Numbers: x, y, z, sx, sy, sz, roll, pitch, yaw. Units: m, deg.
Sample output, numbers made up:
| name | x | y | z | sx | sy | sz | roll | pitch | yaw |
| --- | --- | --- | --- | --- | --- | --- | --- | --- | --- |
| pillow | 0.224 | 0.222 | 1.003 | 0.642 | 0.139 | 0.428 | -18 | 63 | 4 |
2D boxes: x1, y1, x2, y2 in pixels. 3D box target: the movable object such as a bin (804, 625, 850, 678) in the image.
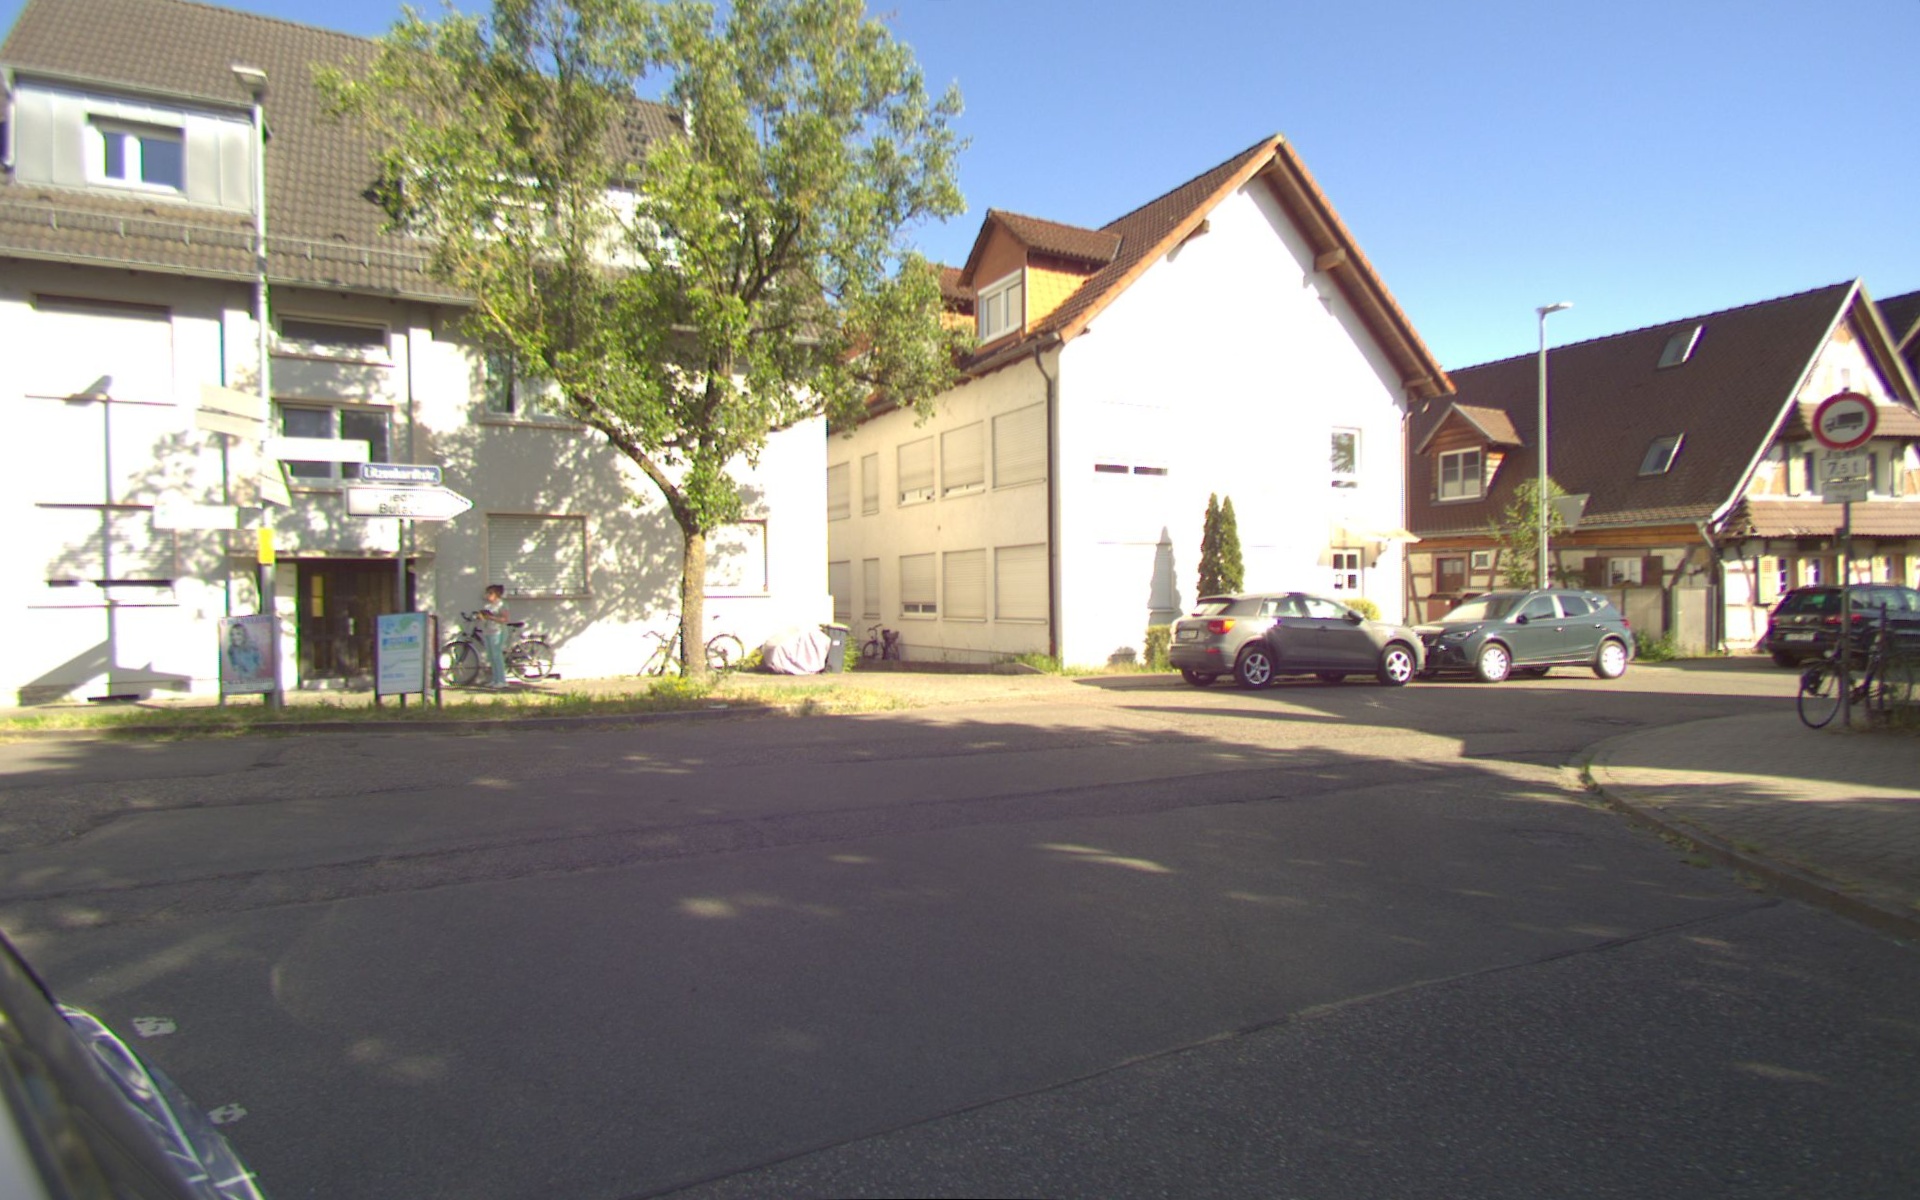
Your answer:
| name | x | y | z | sx | sy | sz | roll | pitch | yaw |
| --- | --- | --- | --- | --- | --- | --- | --- | --- | --- |
| movable object such as a bin | -2.477 | 0.950 | 18.880 | 0.649 | 0.952 | 0.629 | 1 | 0 | -30 |

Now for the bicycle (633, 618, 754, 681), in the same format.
| name | x | y | z | sx | sy | sz | roll | pitch | yaw |
| --- | --- | --- | --- | --- | --- | --- | --- | --- | --- |
| bicycle | -4.660 | 0.848 | 17.694 | 2.001 | 1.060 | 0.582 | 1 | -1 | -18 |

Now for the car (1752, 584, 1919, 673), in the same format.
| name | x | y | z | sx | sy | sz | roll | pitch | yaw |
| --- | --- | --- | --- | --- | --- | --- | --- | --- | --- |
| car | 17.900 | 0.518 | 19.856 | 3.814 | 1.634 | 1.818 | 0 | 0 | -16 |

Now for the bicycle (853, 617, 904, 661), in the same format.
| name | x | y | z | sx | sy | sz | roll | pitch | yaw |
| --- | --- | --- | --- | --- | --- | --- | --- | --- | --- |
| bicycle | -2.043 | 0.945 | 25.048 | 0.570 | 1.060 | 2.043 | 1 | -1 | -25 |

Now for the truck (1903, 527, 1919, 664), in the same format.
| name | x | y | z | sx | sy | sz | roll | pitch | yaw |
| --- | --- | --- | --- | --- | --- | --- | --- | --- | --- |
| truck | 23.107 | -0.093 | 21.229 | 5.684 | 2.890 | 2.282 | 0 | 0 | -16 |

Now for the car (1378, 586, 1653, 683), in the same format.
| name | x | y | z | sx | sy | sz | roll | pitch | yaw |
| --- | --- | --- | --- | --- | --- | --- | --- | --- | --- |
| car | 9.482 | 0.542 | 17.354 | 4.037 | 1.517 | 1.818 | 0 | 0 | -16 |

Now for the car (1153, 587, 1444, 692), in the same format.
| name | x | y | z | sx | sy | sz | roll | pitch | yaw |
| --- | --- | --- | --- | --- | --- | --- | --- | --- | --- |
| car | 5.346 | 0.571 | 16.114 | 4.037 | 1.517 | 1.879 | 0 | 0 | -16 |

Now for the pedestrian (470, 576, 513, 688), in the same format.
| name | x | y | z | sx | sy | sz | roll | pitch | yaw |
| --- | --- | --- | --- | --- | --- | --- | --- | --- | --- |
| pedestrian | -7.300 | 0.490 | 15.785 | 0.547 | 1.705 | 0.486 | 1 | 0 | -22 |

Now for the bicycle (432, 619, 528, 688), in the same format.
| name | x | y | z | sx | sy | sz | roll | pitch | yaw |
| --- | --- | --- | --- | --- | --- | --- | --- | --- | --- |
| bicycle | -7.627 | 0.842 | 16.115 | 1.357 | 1.060 | 0.426 | 1 | -1 | -25 |

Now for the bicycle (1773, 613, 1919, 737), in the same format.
| name | x | y | z | sx | sy | sz | roll | pitch | yaw |
| --- | --- | --- | --- | --- | --- | --- | --- | --- | --- |
| bicycle | 9.229 | 0.735 | 10.252 | 1.799 | 1.185 | 0.435 | -1 | 0 | -9 |
